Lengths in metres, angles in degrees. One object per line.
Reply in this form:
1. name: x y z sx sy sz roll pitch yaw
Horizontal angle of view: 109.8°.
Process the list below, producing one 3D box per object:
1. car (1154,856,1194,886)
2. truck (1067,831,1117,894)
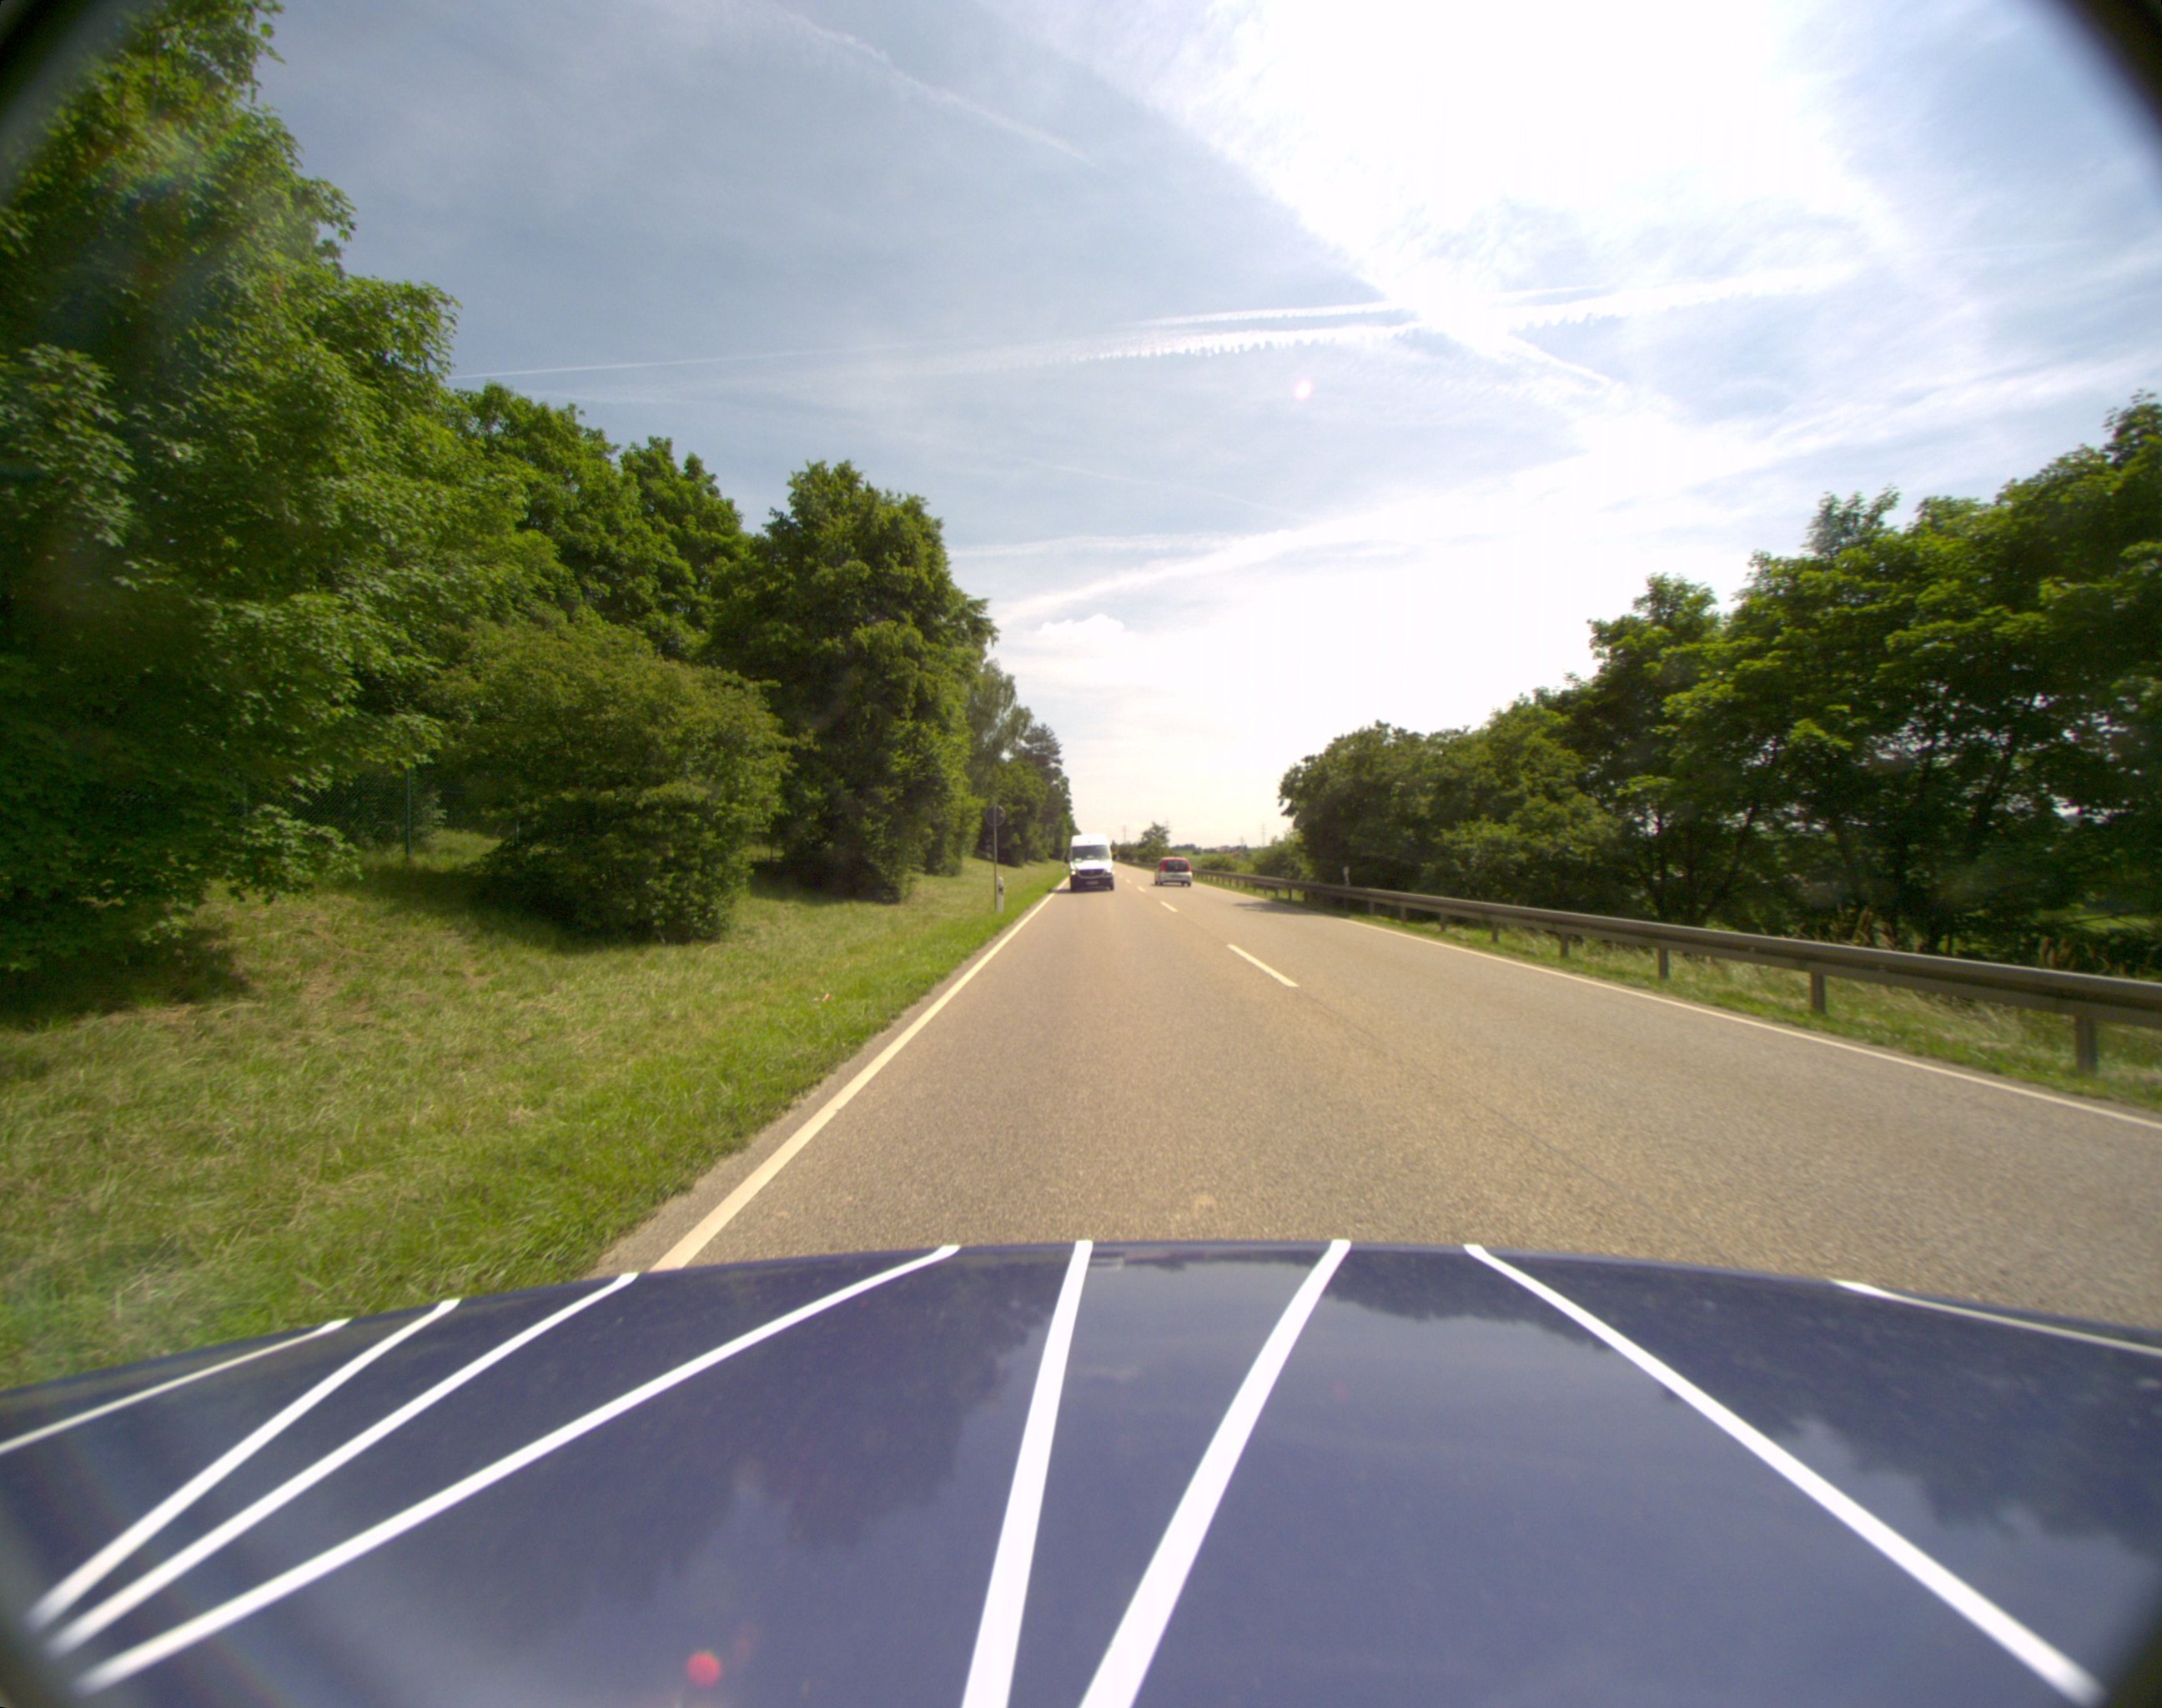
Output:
1. car: 4.810 0.854 39.672 1.561 1.454 3.549 2 0 0
2. truck: 0.529 0.338 34.852 2.023 2.567 7.225 -1 0 1
